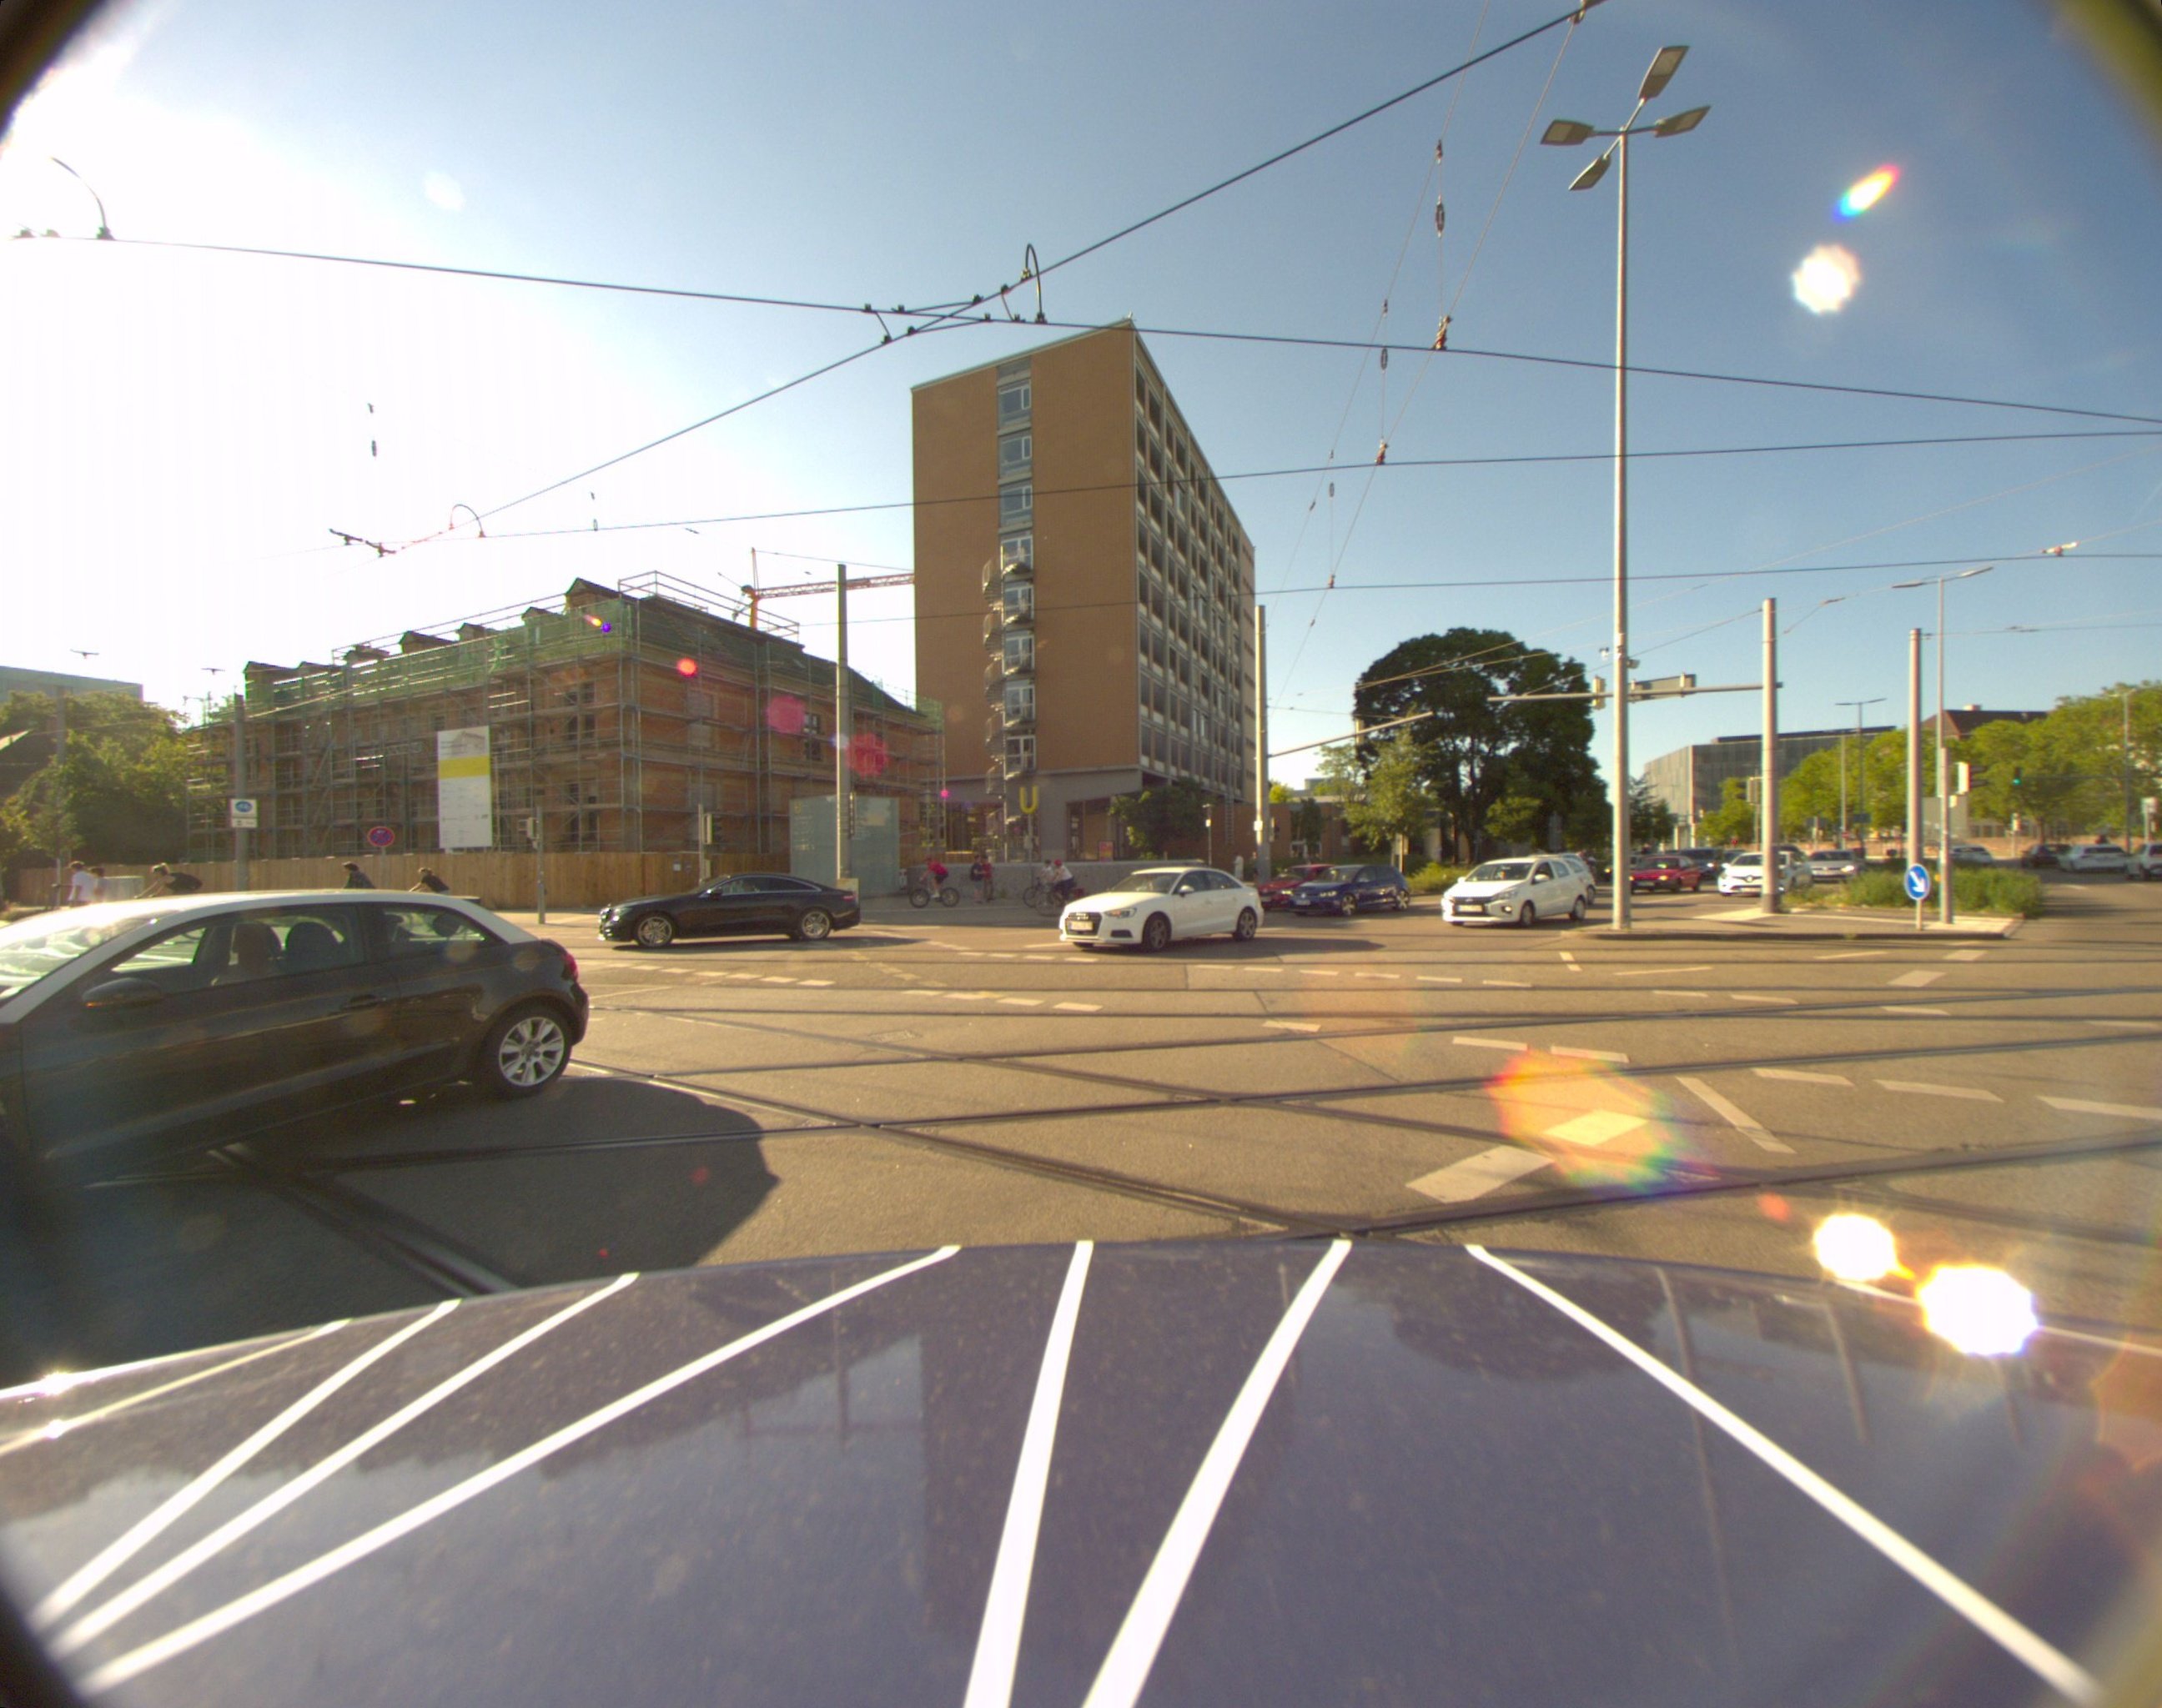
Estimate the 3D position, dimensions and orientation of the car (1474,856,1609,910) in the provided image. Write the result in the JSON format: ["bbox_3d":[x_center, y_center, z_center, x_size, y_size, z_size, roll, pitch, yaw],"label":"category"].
[{"bbox_3d":[13.706,0.799,22.566,3.922,1.455,1.780,0,0,-31],"label":"car"}]

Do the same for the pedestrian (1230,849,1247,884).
[{"bbox_3d":[7.845,0.633,37.843,0.625,1.701,0.485,-2,-2,-18],"label":"pedestrian"}]

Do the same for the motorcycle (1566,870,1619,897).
[{"bbox_3d":[25.591,1.472,38.005,3.239,1.187,1.115,-1,-3,-36],"label":"motorcycle"}]

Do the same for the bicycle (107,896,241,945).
[{"bbox_3d":[-21.199,1.531,17.807,1.910,1.021,0.647,-1,-1,-29],"label":"bicycle"}]

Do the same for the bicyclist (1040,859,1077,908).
[{"bbox_3d":[-0.766,0.980,25.697,1.019,1.579,0.692,-1,3,-35],"label":"bicyclist"}]

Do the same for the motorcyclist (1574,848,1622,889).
[{"bbox_3d":[21.669,0.604,31.852,1.456,1.657,1.116,-1,-2,-32],"label":"motorcyclist"}]

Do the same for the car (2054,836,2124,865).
[{"bbox_3d":[61.892,-0.199,46.734,1.854,1.620,3.878,-6,-3,43],"label":"car"}]

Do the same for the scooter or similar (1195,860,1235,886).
[{"bbox_3d":[6.816,0.979,38.747,1.829,1.239,0.800,-2,-2,-5],"label":"scooter or similar"}]

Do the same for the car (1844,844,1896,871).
[{"bbox_3d":[51.338,0.203,49.436,4.291,1.666,1.994,-1,1,-39],"label":"car"}]

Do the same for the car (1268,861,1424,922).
[{"bbox_3d":[7.841,1.061,22.344,4.661,1.483,1.814,-2,-1,-33],"label":"car"}]

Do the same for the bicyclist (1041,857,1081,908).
[{"bbox_3d":[-0.639,0.890,24.280,1.019,1.579,0.692,-1,3,-38],"label":"bicyclist"}]

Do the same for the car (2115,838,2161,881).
[{"bbox_3d":[43.074,0.179,30.316,3.878,1.620,1.717,-1,-1,-42],"label":"car"}]

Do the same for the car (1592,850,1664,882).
[{"bbox_3d":[31.131,0.657,43.195,4.716,1.673,1.995,-1,-3,-38],"label":"car"}]

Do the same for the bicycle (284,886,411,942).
[{"bbox_3d":[-16.272,1.324,16.913,1.905,1.116,0.647,-2,-2,-23],"label":"bicycle"}]

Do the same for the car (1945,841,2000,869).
[{"bbox_3d":[56.982,0.048,48.646,1.854,1.620,3.878,-6,-3,45],"label":"car"}]

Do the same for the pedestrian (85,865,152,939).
[{"bbox_3d":[-24.787,1.226,19.583,0.820,1.837,0.691,-2,-2,-7],"label":"pedestrian"}]

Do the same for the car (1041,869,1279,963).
[{"bbox_3d":[1.580,0.999,13.853,4.467,1.380,1.822,0,-1,-43],"label":"car"}]

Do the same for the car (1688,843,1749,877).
[{"bbox_3d":[34.666,0.304,41.300,4.008,1.718,1.818,-1,0,-39],"label":"car"}]

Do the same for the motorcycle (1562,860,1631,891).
[{"bbox_3d":[21.627,0.897,31.828,3.238,1.187,1.116,-1,-2,-32],"label":"motorcycle"}]

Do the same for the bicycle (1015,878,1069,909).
[{"bbox_3d":[-1.360,1.366,26.565,0.710,0.964,1.884,4,3,43],"label":"bicycle"}]

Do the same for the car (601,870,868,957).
[{"bbox_3d":[-6.903,1.100,15.327,4.662,1.483,1.813,0,-2,-33],"label":"car"}]

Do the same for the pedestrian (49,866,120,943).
[{"bbox_3d":[-24.677,1.236,18.832,0.820,1.837,0.691,-2,-2,-7],"label":"pedestrian"}]

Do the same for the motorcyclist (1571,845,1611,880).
[{"bbox_3d":[25.518,0.429,38.013,1.457,1.657,1.115,-1,-2,-36],"label":"motorcyclist"}]

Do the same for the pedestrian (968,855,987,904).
[{"bbox_3d":[-3.773,0.922,27.701,0.622,1.729,0.665,0,1,-11],"label":"pedestrian"}]

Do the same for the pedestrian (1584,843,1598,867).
[{"bbox_3d":[37.199,0.077,55.426,0.593,1.651,0.564,-1,-2,-39],"label":"pedestrian"}]

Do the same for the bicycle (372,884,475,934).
[{"bbox_3d":[-16.007,1.328,18.554,1.778,1.116,0.647,-2,-2,-21],"label":"bicycle"}]

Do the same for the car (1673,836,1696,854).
[{"bbox_3d":[100.707,-1.471,126.781,2.147,2.850,4.979,-1,0,28],"label":"car"}]

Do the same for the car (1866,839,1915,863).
[{"bbox_3d":[60.751,-0.229,56.996,4.716,1.673,1.995,-1,-3,-38],"label":"car"}]

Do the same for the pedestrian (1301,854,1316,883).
[{"bbox_3d":[12.902,0.830,43.125,0.572,1.625,0.505,-4,-2,44],"label":"pedestrian"}]

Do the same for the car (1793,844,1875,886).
[{"bbox_3d":[32.137,0.417,32.386,4.291,1.666,1.994,-1,1,-39],"label":"car"}]

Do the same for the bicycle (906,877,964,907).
[{"bbox_3d":[-5.040,1.313,26.209,1.881,0.964,0.711,1,3,-15],"label":"bicycle"}]

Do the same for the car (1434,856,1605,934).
[{"bbox_3d":[9.908,0.845,17.101,3.877,1.483,1.718,-1,0,-32],"label":"car"}]

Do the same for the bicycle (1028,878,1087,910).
[{"bbox_3d":[-0.789,1.347,25.721,1.883,0.964,0.710,0,3,-35],"label":"bicycle"}]

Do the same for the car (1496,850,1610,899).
[{"bbox_3d":[17.925,0.755,28.815,4.006,1.596,1.996,-2,-4,-32],"label":"car"}]

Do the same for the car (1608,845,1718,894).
[{"bbox_3d":[21.884,0.569,28.541,4.007,1.673,1.996,-1,-3,-34],"label":"car"}]

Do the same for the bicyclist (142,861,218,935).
[{"bbox_3d":[-21.144,1.013,17.845,0.976,1.685,0.647,-1,-1,-29],"label":"bicyclist"}]

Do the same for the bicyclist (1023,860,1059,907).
[{"bbox_3d":[-1.379,1.008,26.514,0.692,1.579,1.019,4,4,44],"label":"bicyclist"}]

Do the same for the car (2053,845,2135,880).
[{"bbox_3d":[51.225,0.420,38.497,3.878,1.620,1.854,-1,-4,-45],"label":"car"}]

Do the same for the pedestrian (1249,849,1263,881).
[{"bbox_3d":[8.914,0.557,38.626,0.426,1.625,0.505,-4,-2,44],"label":"pedestrian"}]

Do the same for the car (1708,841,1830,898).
[{"bbox_3d":[22.365,0.453,24.665,4.291,1.666,1.995,-1,1,-34],"label":"car"}]

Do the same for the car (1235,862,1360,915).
[{"bbox_3d":[7.258,1.084,25.357,4.025,1.455,1.752,-2,1,-33],"label":"car"}]

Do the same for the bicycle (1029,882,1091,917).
[{"bbox_3d":[-0.656,1.429,24.299,1.884,0.964,0.710,0,3,-38],"label":"bicycle"}]

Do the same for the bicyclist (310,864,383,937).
[{"bbox_3d":[-16.316,1.018,16.906,0.976,1.559,0.647,-2,-2,-23],"label":"bicyclist"}]

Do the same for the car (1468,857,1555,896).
[{"bbox_3d":[18.851,0.951,33.251,4.026,1.455,1.752,-3,1,-36],"label":"car"}]

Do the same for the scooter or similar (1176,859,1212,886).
[{"bbox_3d":[5.611,0.936,37.704,1.705,1.239,0.801,-3,-2,9],"label":"scooter or similar"}]

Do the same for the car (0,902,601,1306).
[{"bbox_3d":[-4.770,1.052,3.779,1.692,1.380,3.836,-1,0,16],"label":"car"}]

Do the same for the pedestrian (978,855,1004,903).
[{"bbox_3d":[-3.339,0.901,28.182,0.734,1.729,0.620,-1,2,-42],"label":"pedestrian"}]

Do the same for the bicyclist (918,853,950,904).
[{"bbox_3d":[-5.060,0.849,26.163,1.017,1.699,0.693,1,3,-15],"label":"bicyclist"}]

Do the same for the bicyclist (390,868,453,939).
[{"bbox_3d":[-16.059,1.203,18.533,0.976,1.651,0.647,-2,-2,-21],"label":"bicyclist"}]

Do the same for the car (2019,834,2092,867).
[{"bbox_3d":[54.645,-0.185,42.694,1.854,1.620,3.878,-6,-3,43],"label":"car"}]
